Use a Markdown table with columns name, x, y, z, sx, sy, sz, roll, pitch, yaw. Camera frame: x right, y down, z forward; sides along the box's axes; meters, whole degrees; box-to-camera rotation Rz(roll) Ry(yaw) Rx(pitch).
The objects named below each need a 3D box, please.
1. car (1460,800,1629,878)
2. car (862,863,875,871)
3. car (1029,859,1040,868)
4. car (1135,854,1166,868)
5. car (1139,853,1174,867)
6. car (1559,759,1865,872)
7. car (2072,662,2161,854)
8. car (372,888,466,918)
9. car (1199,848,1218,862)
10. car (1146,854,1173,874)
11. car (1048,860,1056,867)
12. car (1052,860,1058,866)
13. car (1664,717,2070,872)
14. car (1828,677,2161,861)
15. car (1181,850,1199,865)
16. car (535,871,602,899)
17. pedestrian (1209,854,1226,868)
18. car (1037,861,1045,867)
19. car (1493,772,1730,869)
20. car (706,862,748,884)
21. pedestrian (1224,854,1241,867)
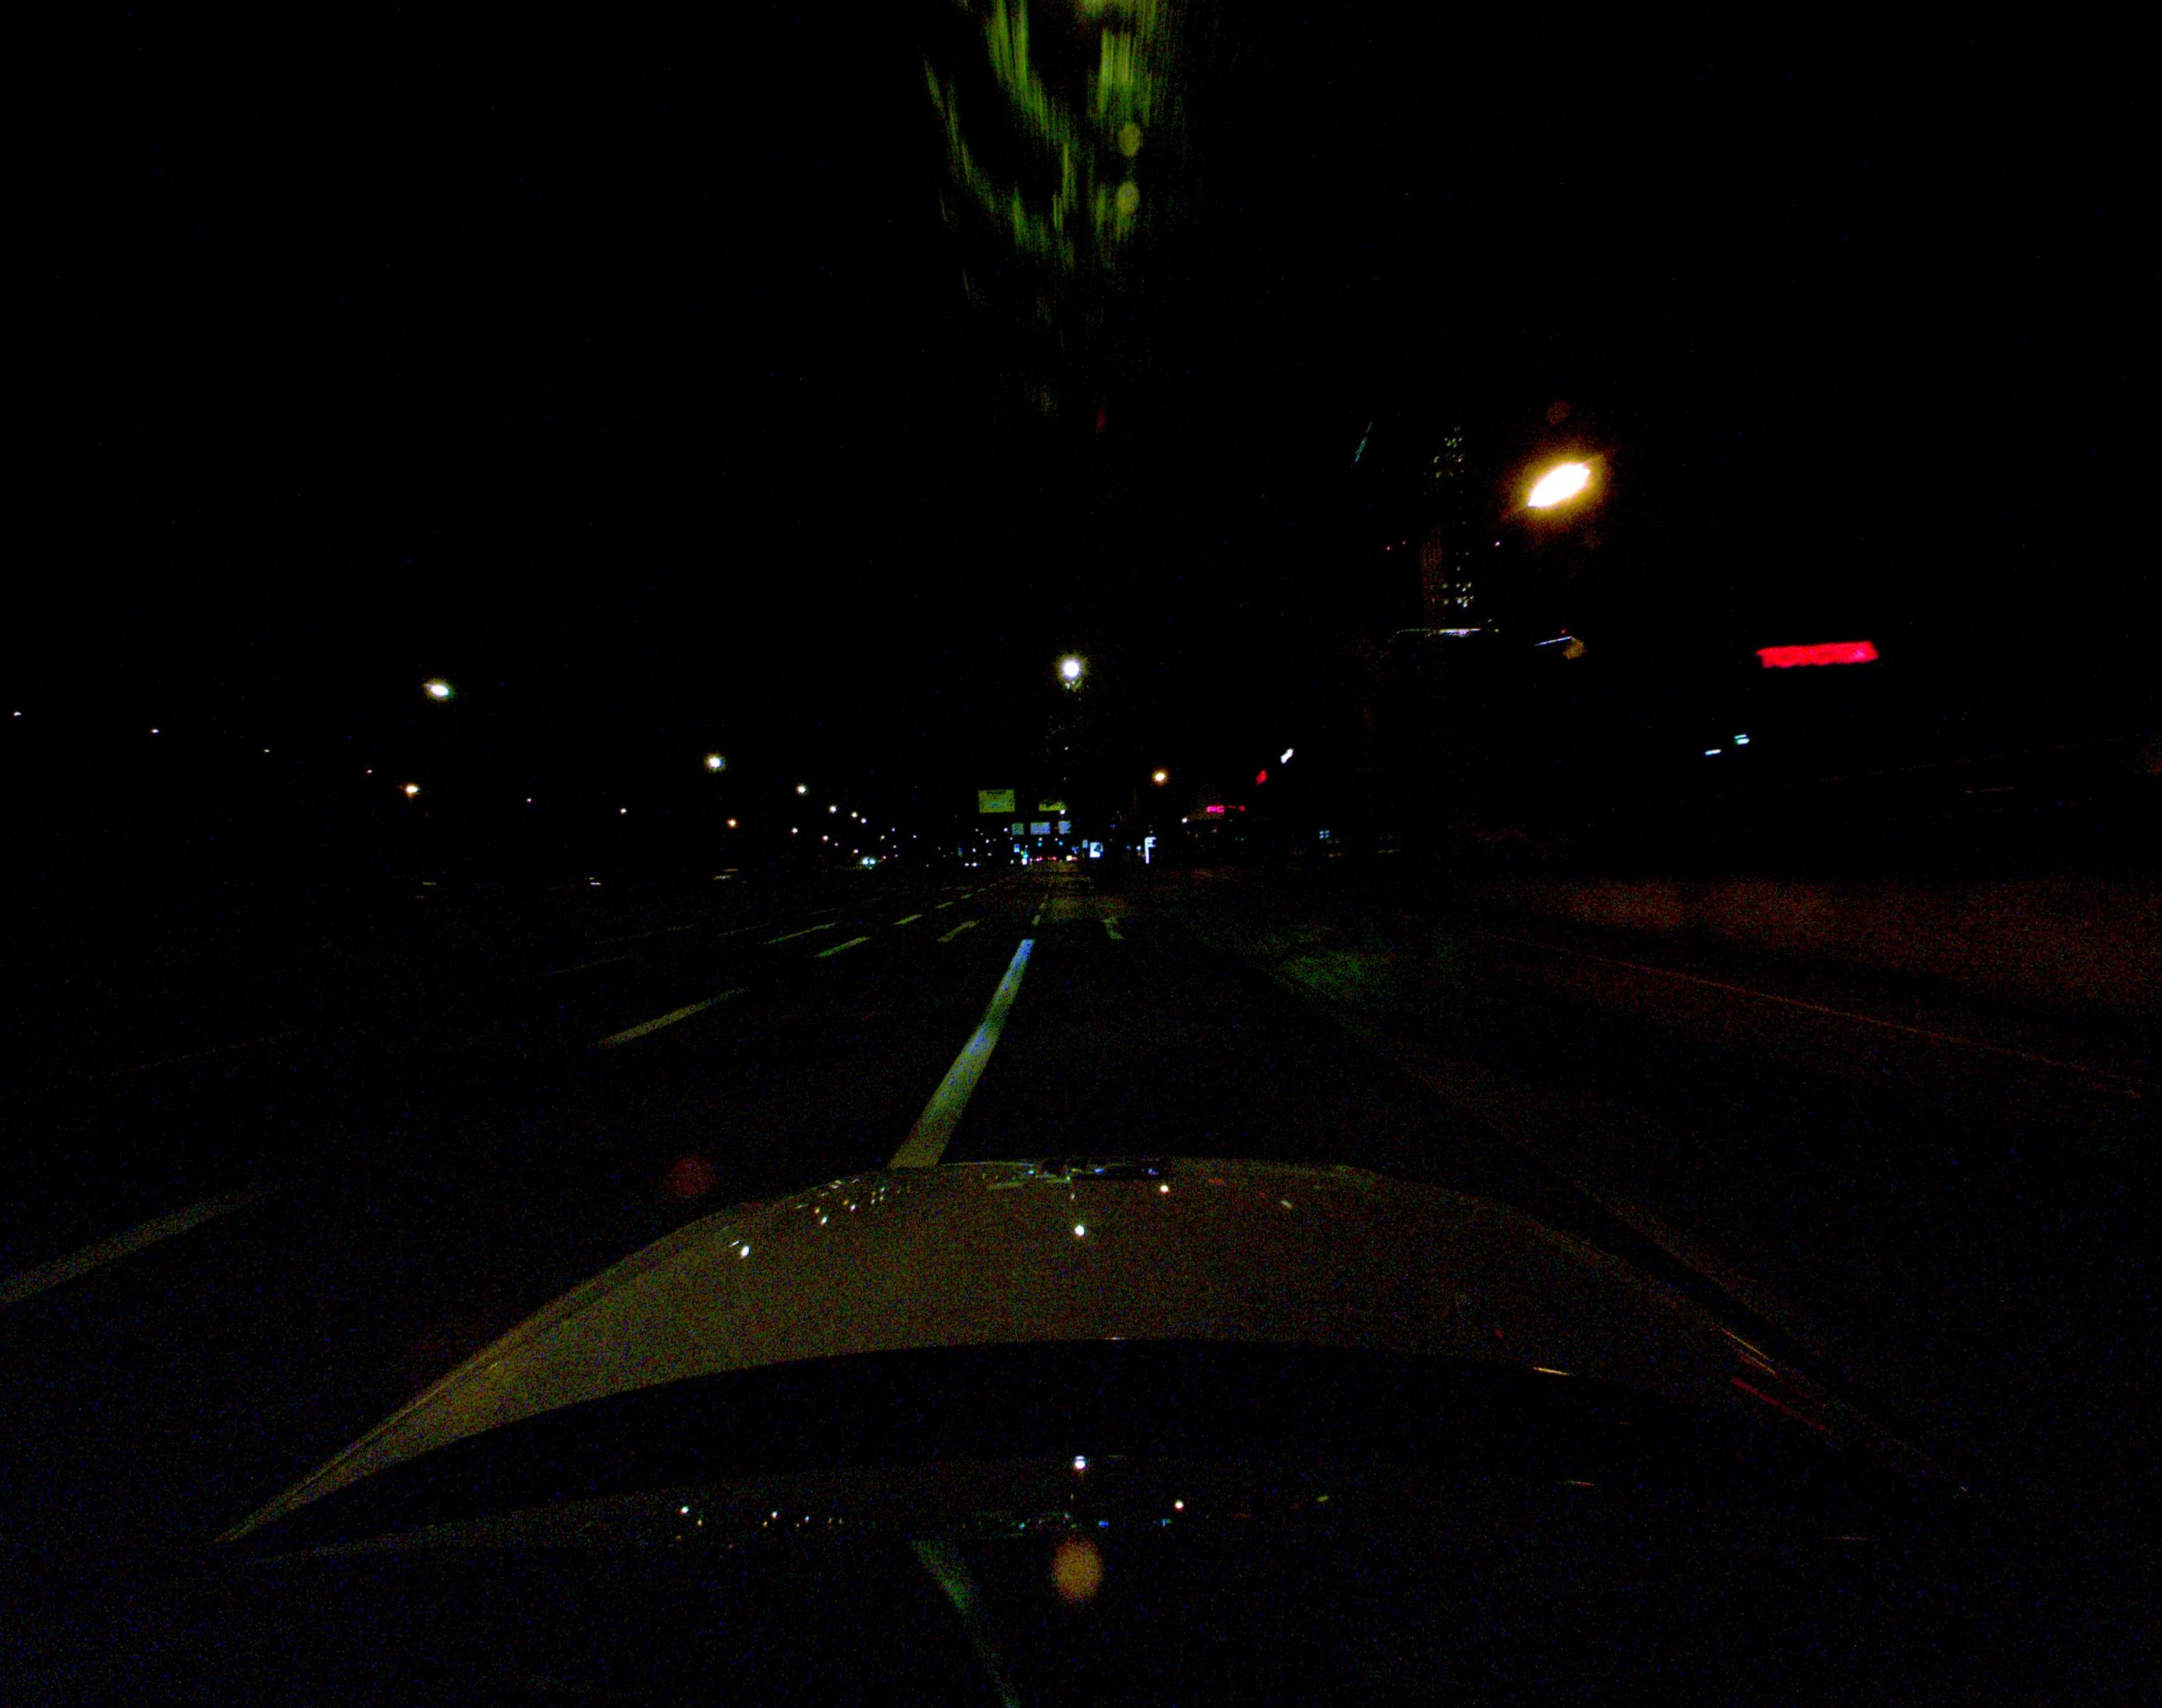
| name | x | y | z | sx | sy | sz | roll | pitch | yaw |
| --- | --- | --- | --- | --- | --- | --- | --- | --- | --- |
| car | 10.919 | -0.375 | 19.135 | 3.857 | 1.490 | 1.722 | -4 | -3 | -32 |
| car | -42.918 | 2.621 | 164.601 | 1.620 | 1.481 | 3.677 | -1 | -2 | -1 |
| car | -9.305 | 1.909 | 163.400 | 1.961 | 1.711 | 4.000 | -1 | -2 | 1 |
| car | 8.284 | 0.850 | 97.105 | 3.505 | 1.508 | 1.732 | -1 | -2 | -5 |
| car | 8.242 | 0.697 | 89.022 | 3.618 | 1.451 | 1.704 | -1 | -2 | -5 |
| car | 10.331 | -0.583 | 13.521 | 3.717 | 1.489 | 1.740 | -4 | -2 | -3 |
| car | 10.780 | -0.932 | 6.215 | 4.106 | 1.522 | 1.822 | -4 | -3 | 0 |
| car | -30.514 | 2.235 | 37.653 | 1.523 | 1.270 | 3.389 | -1 | -2 | -1 |
| car | 14.373 | 0.141 | 92.221 | 1.883 | 1.511 | 3.641 | -1 | -2 | 6 |
| car | 8.096 | 1.033 | 83.603 | 1.978 | 1.945 | 4.016 | -1 | -2 | 16 |
| car | -7.969 | 2.617 | 222.471 | 1.988 | 2.014 | 3.997 | -1 | -2 | -2 |
| car | -7.449 | 2.637 | 231.320 | 1.776 | 1.728 | 3.997 | -1 | -2 | -2 |
| car | 10.409 | -0.732 | 10.998 | 3.739 | 1.587 | 1.778 | -5 | -2 | -3 |
| car | 10.635 | -0.880 | 8.502 | 3.974 | 1.571 | 1.738 | -4 | -2 | 0 |
| car | 12.142 | 0.380 | 90.880 | 1.883 | 1.511 | 3.641 | -1 | -2 | 6 |
| car | -32.658 | 1.963 | 52.020 | 1.827 | 1.685 | 3.995 | -1 | -2 | -3 |
| pedestrian | 10.316 | 0.536 | 61.528 | 0.902 | 1.038 | 0.776 | -4 | -2 | 42 |
| car | -11.036 | 2.796 | 222.318 | 1.988 | 1.596 | 3.997 | -2 | -2 | -1 |
| car | 10.417 | -0.625 | 16.147 | 3.557 | 1.570 | 1.723 | -4 | -2 | -6 |
| car | -28.975 | 1.528 | 66.756 | 1.795 | 1.695 | 3.997 | -1 | -1 | -2 |
| pedestrian | 11.438 | 0.506 | 61.626 | 1.000 | 1.008 | 0.767 | 0 | -2 | -17 |
